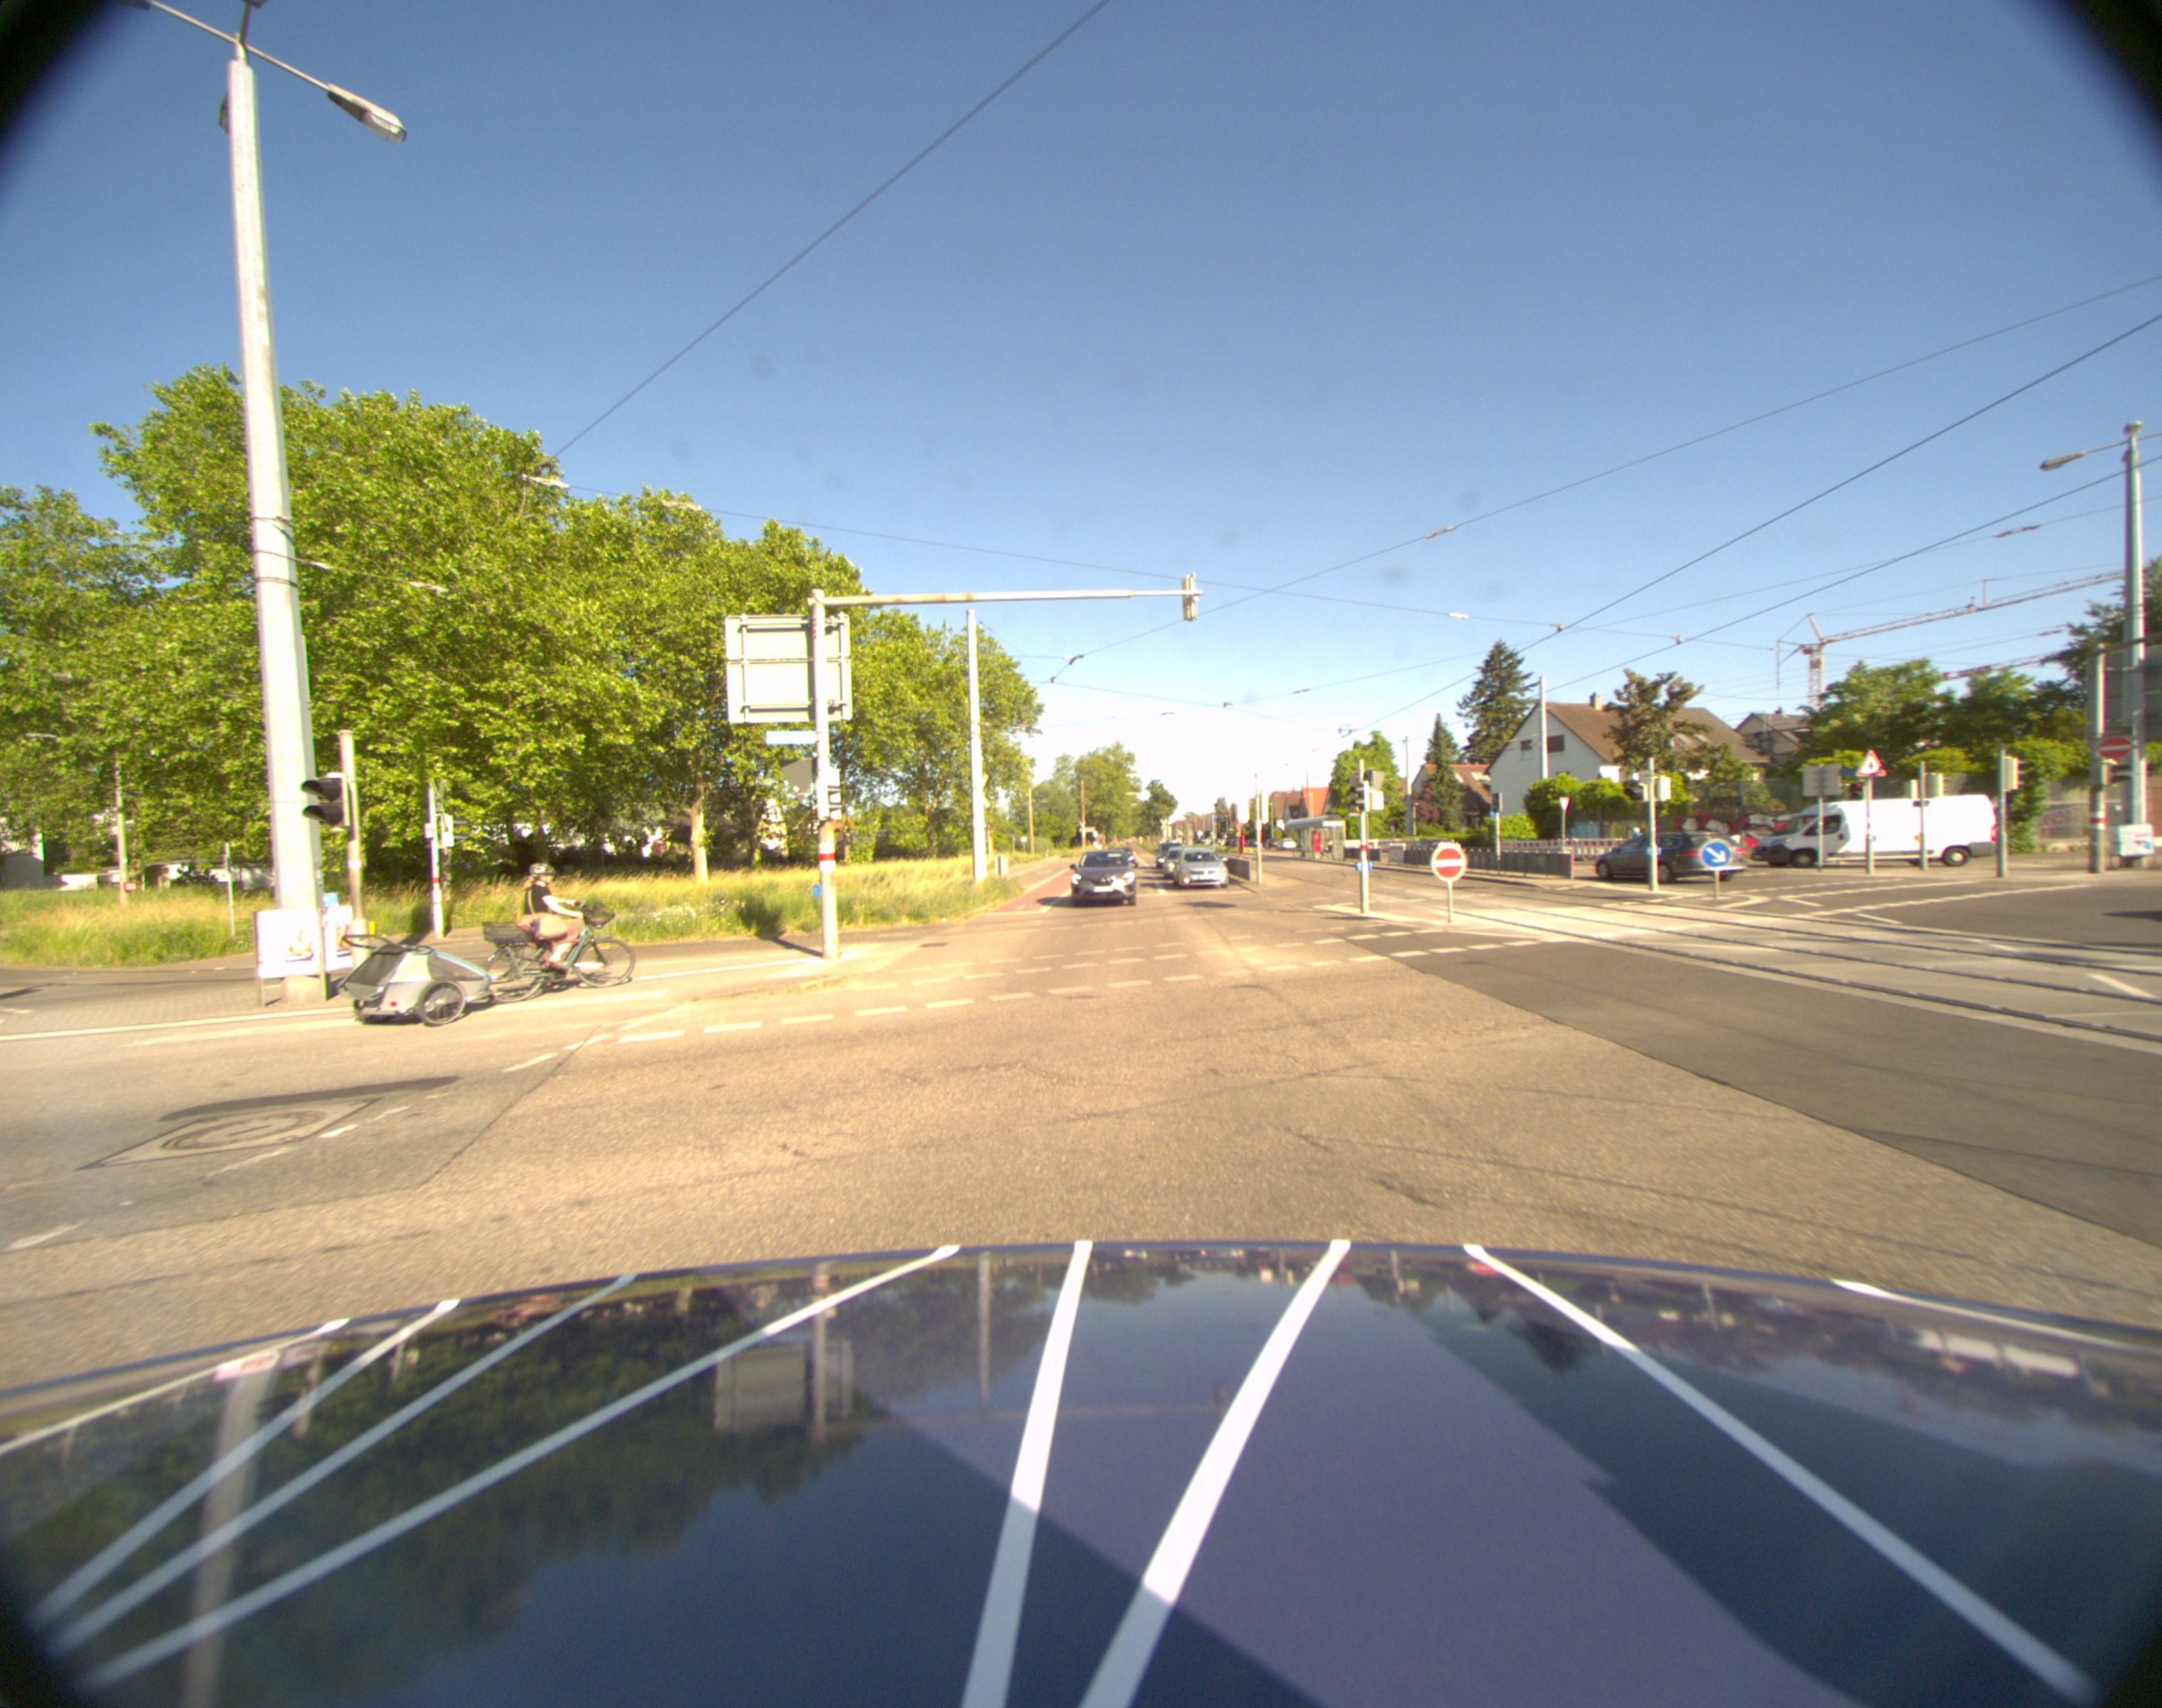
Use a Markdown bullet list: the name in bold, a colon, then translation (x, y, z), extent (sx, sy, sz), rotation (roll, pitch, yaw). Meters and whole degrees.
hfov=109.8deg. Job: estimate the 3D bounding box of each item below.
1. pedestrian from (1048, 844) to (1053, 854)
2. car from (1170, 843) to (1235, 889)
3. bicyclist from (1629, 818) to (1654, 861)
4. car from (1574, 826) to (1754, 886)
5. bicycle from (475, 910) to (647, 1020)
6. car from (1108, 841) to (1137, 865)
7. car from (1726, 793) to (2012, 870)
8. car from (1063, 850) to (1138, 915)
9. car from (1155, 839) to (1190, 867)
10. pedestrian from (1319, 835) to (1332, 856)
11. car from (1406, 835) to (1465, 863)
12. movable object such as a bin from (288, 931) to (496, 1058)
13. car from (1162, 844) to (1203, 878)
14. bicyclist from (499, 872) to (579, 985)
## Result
- **pedestrian**: translation (-3.262, -0.534, 81.796), extent (0.482, 1.027, 0.454), rotation (-2, 2, 4)
- **car**: translation (4.470, 0.397, 28.542), extent (1.881, 1.519, 4.421), rotation (-2, 1, 3)
- **bicyclist**: translation (21.507, -0.549, 29.147), extent (0.490, 1.599, 0.648), rotation (-2, 2, 4)
- **car**: translation (17.478, 0.018, 23.126), extent (1.818, 1.587, 4.691), rotation (-2, 1, -1)
- **bicycle**: translation (-6.613, 1.362, 9.790), extent (0.467, 1.112, 1.822), rotation (-2, 1, 22)
- **car**: translation (2.930, -0.091, 53.146), extent (1.838, 1.541, 3.816), rotation (-2, 1, 5)
- **car**: translation (28.321, -0.746, 27.755), extent (6.853, 2.444, 2.352), rotation (-1, 1, 26)
- **car**: translation (0.640, 0.711, 21.256), extent (1.838, 1.541, 3.816), rotation (-2, 1, 4)
- **car**: translation (5.851, -0.110, 48.908), extent (1.885, 1.687, 4.300), rotation (-2, 1, 3)
- **pedestrian**: translation (16.988, -0.570, 52.774), extent (0.623, 1.407, 0.711), rotation (-2, 1, 2)
- **car**: translation (19.365, -0.297, 41.640), extent (1.687, 1.450, 3.704), rotation (-2, 1, 3)
- **movable object such as a bin**: translation (-7.270, 1.430, 8.090), extent (0.910, 1.062, 1.318), rotation (-1, 1, 19)
- **car**: translation (4.707, 0.288, 35.585), extent (1.585, 1.460, 3.414), rotation (-2, 1, 3)
- **bicyclist**: translation (-6.763, 0.916, 9.502), extent (0.510, 1.333, 0.566), rotation (-1, 2, 19)
